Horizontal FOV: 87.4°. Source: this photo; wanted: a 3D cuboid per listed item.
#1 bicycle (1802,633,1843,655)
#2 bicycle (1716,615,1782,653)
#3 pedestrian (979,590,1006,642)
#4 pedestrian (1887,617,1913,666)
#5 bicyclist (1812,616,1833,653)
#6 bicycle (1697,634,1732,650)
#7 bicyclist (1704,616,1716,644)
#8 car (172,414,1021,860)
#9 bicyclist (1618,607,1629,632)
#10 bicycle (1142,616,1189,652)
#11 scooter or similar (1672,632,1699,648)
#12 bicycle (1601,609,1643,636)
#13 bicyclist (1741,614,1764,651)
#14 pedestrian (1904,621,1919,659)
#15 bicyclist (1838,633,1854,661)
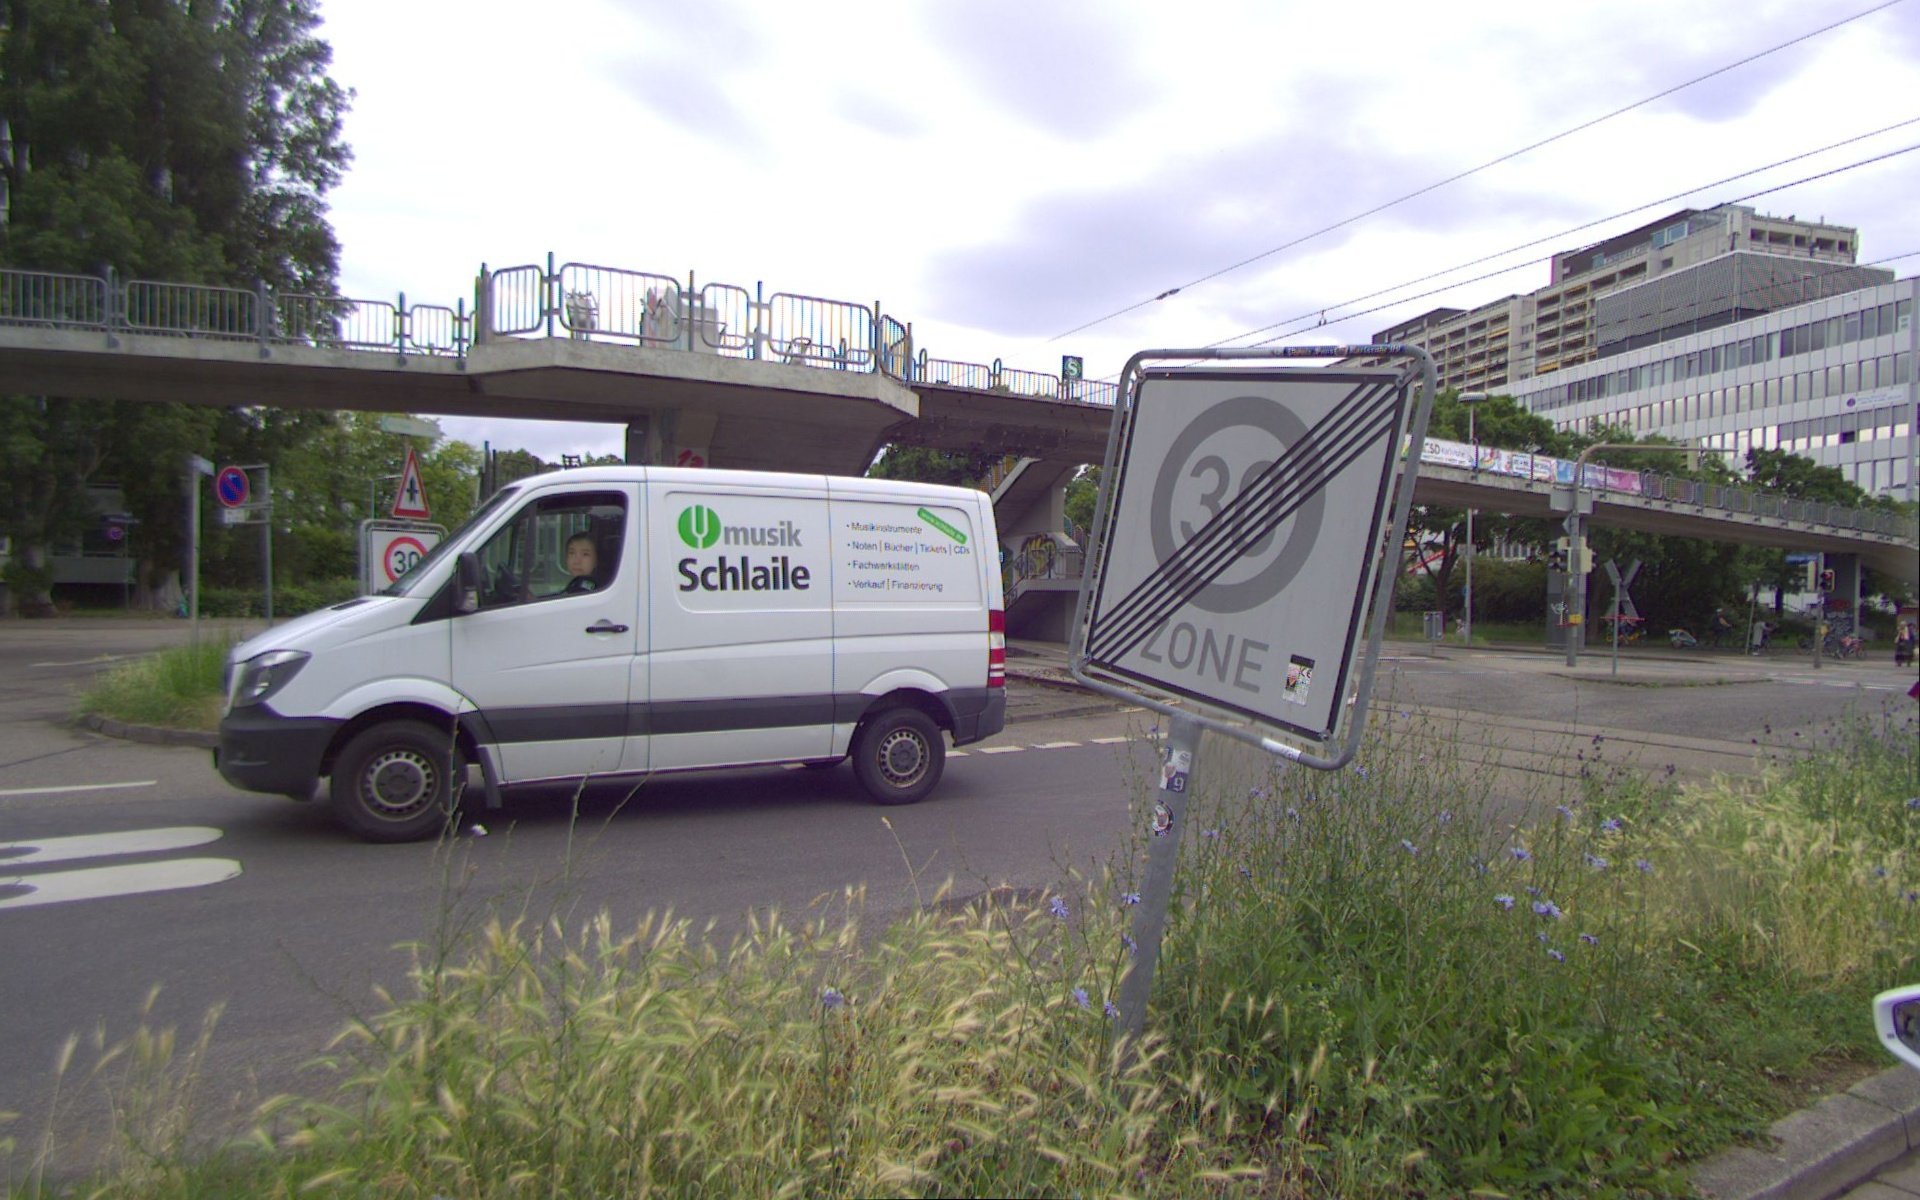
[{"bbox_3d":[39.139,2.002,45.549,2.493,0.938,0.628,1,1,-31],"label":"bicycle"},{"bbox_3d":[36.191,1.554,46.111,2.325,1.647,0.526,1,0,32],"label":"bicycle"},{"bbox_3d":[1.049,0.506,32.408,0.593,1.664,0.659,1,1,-25],"label":"pedestrian"},{"bbox_3d":[33.199,1.459,35.488,0.402,1.714,0.612,1,1,-43],"label":"pedestrian"},{"bbox_3d":[39.179,1.575,45.643,0.525,1.666,0.562,2,0,-29],"label":"bicyclist"},{"bbox_3d":[36.358,2.008,48.415,1.273,0.701,0.290,1,1,25],"label":"bicycle"},{"bbox_3d":[36.214,1.446,48.490,0.376,1.321,0.278,1,1,24],"label":"bicyclist"},{"bbox_3d":[-2.297,0.242,7.388,5.142,2.323,2.126,1,0,-28],"label":"car"},{"bbox_3d":[33.238,0.968,50.319,0.401,1.270,0.275,2,1,43],"label":"bicyclist"},{"bbox_3d":[5.839,0.963,28.662,0.368,0.934,2.029,1,0,-18],"label":"bicycle"},{"bbox_3d":[35.299,1.923,48.882,0.978,0.724,0.406,1,0,26],"label":"scooter or similar"},{"bbox_3d":[33.179,1.117,50.330,0.386,1.321,1.687,1,1,-44],"label":"bicycle"},{"bbox_3d":[36.315,1.491,46.041,0.737,1.647,0.526,1,1,32],"label":"bicyclist"},{"bbox_3d":[40.896,1.720,43.048,0.572,1.600,0.777,2,0,42],"label":"pedestrian"},{"bbox_3d":[38.882,2.079,44.090,0.372,1.197,0.403,0,1,-28],"label":"bicyclist"}]
